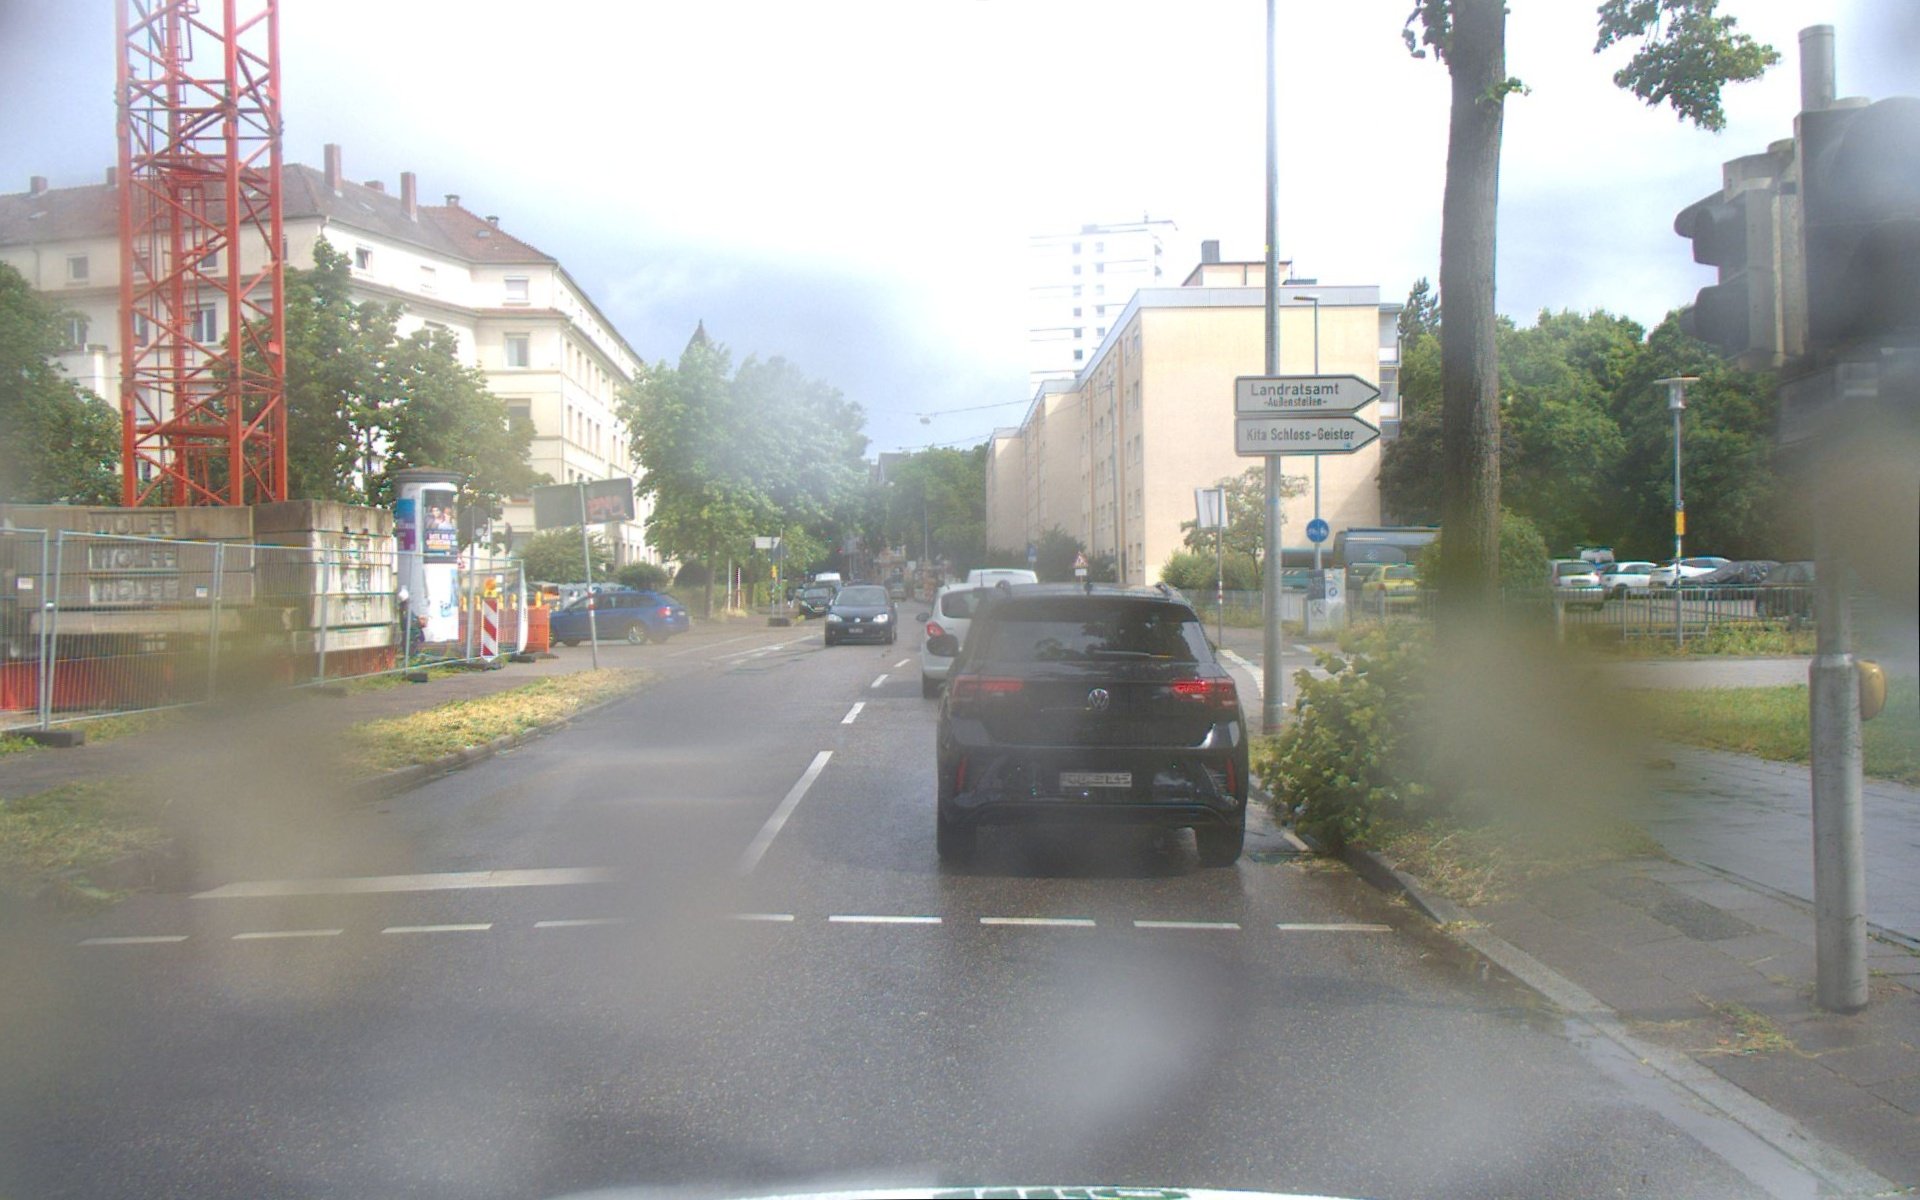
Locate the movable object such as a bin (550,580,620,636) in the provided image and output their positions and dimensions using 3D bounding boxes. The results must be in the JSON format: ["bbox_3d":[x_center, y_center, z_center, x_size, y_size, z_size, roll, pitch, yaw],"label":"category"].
[{"bbox_3d":[-12.079,0.256,53.369,1.505,1.703,1.667,-1,1,18],"label":"movable object such as a bin"}]

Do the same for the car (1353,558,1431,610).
[{"bbox_3d":[13.262,-0.497,50.906,1.577,1.474,3.418,-2,1,2],"label":"car"}]

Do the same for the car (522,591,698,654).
[{"bbox_3d":[-9.598,0.594,45.474,4.338,1.612,1.823,1,1,11],"label":"car"}]

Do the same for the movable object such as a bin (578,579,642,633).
[{"bbox_3d":[-11.595,0.186,54.892,1.505,1.691,1.459,-1,1,18],"label":"movable object such as a bin"}]

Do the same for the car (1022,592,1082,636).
[{"bbox_3d":[3.430,0.555,62.274,1.714,1.534,4.108,-1,-2,-4],"label":"car"}]

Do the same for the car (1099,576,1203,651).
[{"bbox_3d":[4.466,0.282,39.172,1.738,1.566,4.376,-3,1,-2],"label":"car"}]

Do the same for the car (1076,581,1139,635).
[{"bbox_3d":[4.500,0.285,50.855,1.720,1.554,4.001,2,-1,3],"label":"car"}]

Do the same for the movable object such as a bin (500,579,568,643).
[{"bbox_3d":[-12.928,0.324,50.256,1.505,1.856,1.264,-1,1,18],"label":"movable object such as a bin"}]

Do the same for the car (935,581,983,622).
[{"bbox_3d":[-0.068,0.042,65.068,1.573,1.536,3.545,-2,1,-4],"label":"car"}]

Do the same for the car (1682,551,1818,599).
[{"bbox_3d":[27.227,-0.857,57.077,3.892,1.490,1.673,-2,0,1],"label":"car"}]

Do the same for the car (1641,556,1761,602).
[{"bbox_3d":[26.654,-0.748,59.551,3.590,1.512,1.640,-2,0,3],"label":"car"}]

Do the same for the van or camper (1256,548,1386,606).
[{"bbox_3d":[14.107,-0.911,64.892,4.660,2.168,2.323,-1,1,3],"label":"van or camper"}]

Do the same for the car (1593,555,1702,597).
[{"bbox_3d":[26.959,-0.928,64.906,3.590,1.512,1.640,-2,0,3],"label":"car"}]

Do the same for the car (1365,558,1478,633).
[{"bbox_3d":[11.744,-0.128,42.323,1.766,1.780,4.239,-2,1,2],"label":"car"}]

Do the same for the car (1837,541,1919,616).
[{"bbox_3d":[22.847,-0.543,39.457,1.814,1.708,4.426,-2,1,5],"label":"car"}]

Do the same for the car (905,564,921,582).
[{"bbox_3d":[-5.194,-2.923,181.300,1.632,1.870,3.998,-2,1,-3],"label":"car"}]

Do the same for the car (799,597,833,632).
[{"bbox_3d":[-6.863,0.686,78.879,1.555,1.532,4.060,-2,1,-5],"label":"car"}]

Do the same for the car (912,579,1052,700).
[{"bbox_3d":[0.271,0.517,23.229,1.776,1.529,3.999,1,0,0],"label":"car"}]

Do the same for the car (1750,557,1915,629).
[{"bbox_3d":[20.558,-0.183,39.177,1.790,1.553,4.426,-2,1,4],"label":"car"}]

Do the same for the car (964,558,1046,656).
[{"bbox_3d":[1.051,0.168,38.681,1.798,2.139,4.000,1,0,1],"label":"car"}]

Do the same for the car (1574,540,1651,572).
[{"bbox_3d":[31.942,-2.148,80.973,3.158,1.422,1.509,-2,0,3],"label":"car"}]

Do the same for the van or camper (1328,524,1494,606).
[{"bbox_3d":[14.861,-1.138,54.670,4.895,2.599,2.175,-1,-1,1],"label":"van or camper"}]

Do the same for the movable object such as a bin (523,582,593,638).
[{"bbox_3d":[-12.593,0.305,51.801,1.505,1.685,1.528,-1,1,18],"label":"movable object such as a bin"}]

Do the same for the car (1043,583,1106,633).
[{"bbox_3d":[3.840,0.261,55.843,1.572,1.534,4.158,-3,0,-3],"label":"car"}]

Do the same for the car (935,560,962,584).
[{"bbox_3d":[-0.779,-1.986,118.461,1.803,1.636,3.676,-3,1,1],"label":"car"}]

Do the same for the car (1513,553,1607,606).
[{"bbox_3d":[18.268,-0.615,50.472,1.614,1.512,3.720,-2,1,2],"label":"car"}]

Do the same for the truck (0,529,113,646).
[{"bbox_3d":[-30.548,-0.249,48.857,9.603,3.239,3.795,-2,0,13],"label":"truck"}]

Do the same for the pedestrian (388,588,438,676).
[{"bbox_3d":[-10.534,0.612,31.861,0.716,1.658,0.675,1,-1,-38],"label":"pedestrian"}]

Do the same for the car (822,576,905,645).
[{"bbox_3d":[-2.451,0.241,42.792,1.803,1.636,4.000,-3,1,1],"label":"car"}]

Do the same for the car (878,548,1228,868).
[{"bbox_3d":[0.475,0.577,10.799,1.835,1.674,4.061,1,0,-1],"label":"car"}]
